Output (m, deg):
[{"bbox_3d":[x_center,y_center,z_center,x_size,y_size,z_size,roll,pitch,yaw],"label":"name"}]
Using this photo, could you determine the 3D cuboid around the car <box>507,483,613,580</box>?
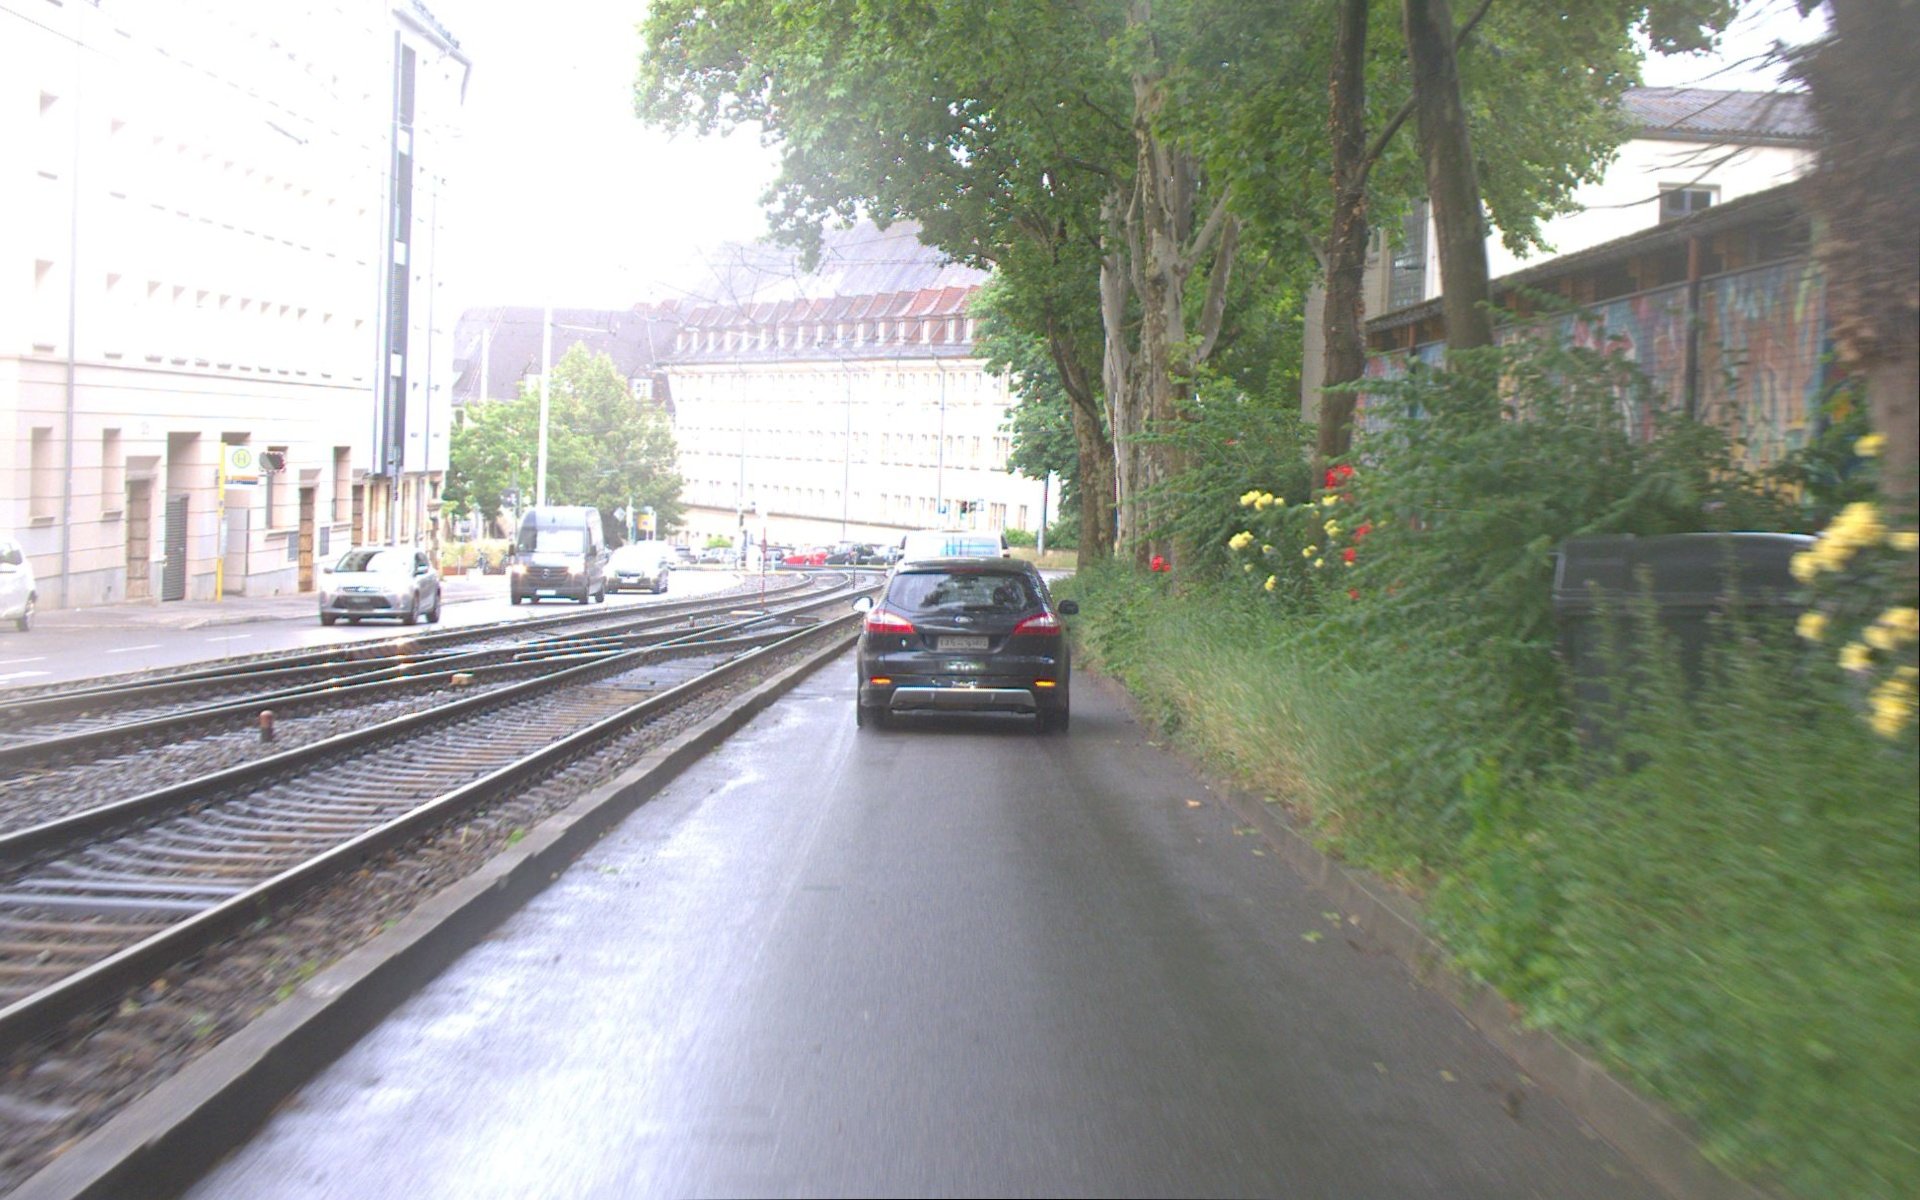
[{"bbox_3d":[-10.602,-1.842,91.587,1.993,2.443,5.999,2,1,1],"label":"car"}]

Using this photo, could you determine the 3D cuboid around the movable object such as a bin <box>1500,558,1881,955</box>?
[{"bbox_3d":[2.954,0.586,13.814,1.402,1.448,1.216,1,3,16],"label":"movable object such as a bin"}]

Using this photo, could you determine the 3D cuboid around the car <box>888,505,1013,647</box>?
[{"bbox_3d":[-0.183,-0.410,52.660,1.740,2.006,3.904,2,2,-2],"label":"car"}]

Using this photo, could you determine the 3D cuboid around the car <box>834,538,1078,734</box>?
[{"bbox_3d":[-0.067,0.256,30.420,1.933,1.447,4.318,3,2,-1],"label":"car"}]

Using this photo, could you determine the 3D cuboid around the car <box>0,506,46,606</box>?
[{"bbox_3d":[-15.366,-0.711,52.833,1.708,1.444,3.542,4,2,-2],"label":"car"}]

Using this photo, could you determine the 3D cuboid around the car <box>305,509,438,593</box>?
[{"bbox_3d":[-11.188,-0.968,65.617,1.712,1.457,4.281,1,2,1],"label":"car"}]

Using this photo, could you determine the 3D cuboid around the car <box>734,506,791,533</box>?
[{"bbox_3d":[-11.952,-4.857,207.916,1.993,1.537,4.001,-1,3,-26],"label":"car"}]

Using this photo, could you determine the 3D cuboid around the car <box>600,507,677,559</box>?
[{"bbox_3d":[-10.229,-2.153,109.679,1.880,1.481,4.854,2,3,1],"label":"car"}]
